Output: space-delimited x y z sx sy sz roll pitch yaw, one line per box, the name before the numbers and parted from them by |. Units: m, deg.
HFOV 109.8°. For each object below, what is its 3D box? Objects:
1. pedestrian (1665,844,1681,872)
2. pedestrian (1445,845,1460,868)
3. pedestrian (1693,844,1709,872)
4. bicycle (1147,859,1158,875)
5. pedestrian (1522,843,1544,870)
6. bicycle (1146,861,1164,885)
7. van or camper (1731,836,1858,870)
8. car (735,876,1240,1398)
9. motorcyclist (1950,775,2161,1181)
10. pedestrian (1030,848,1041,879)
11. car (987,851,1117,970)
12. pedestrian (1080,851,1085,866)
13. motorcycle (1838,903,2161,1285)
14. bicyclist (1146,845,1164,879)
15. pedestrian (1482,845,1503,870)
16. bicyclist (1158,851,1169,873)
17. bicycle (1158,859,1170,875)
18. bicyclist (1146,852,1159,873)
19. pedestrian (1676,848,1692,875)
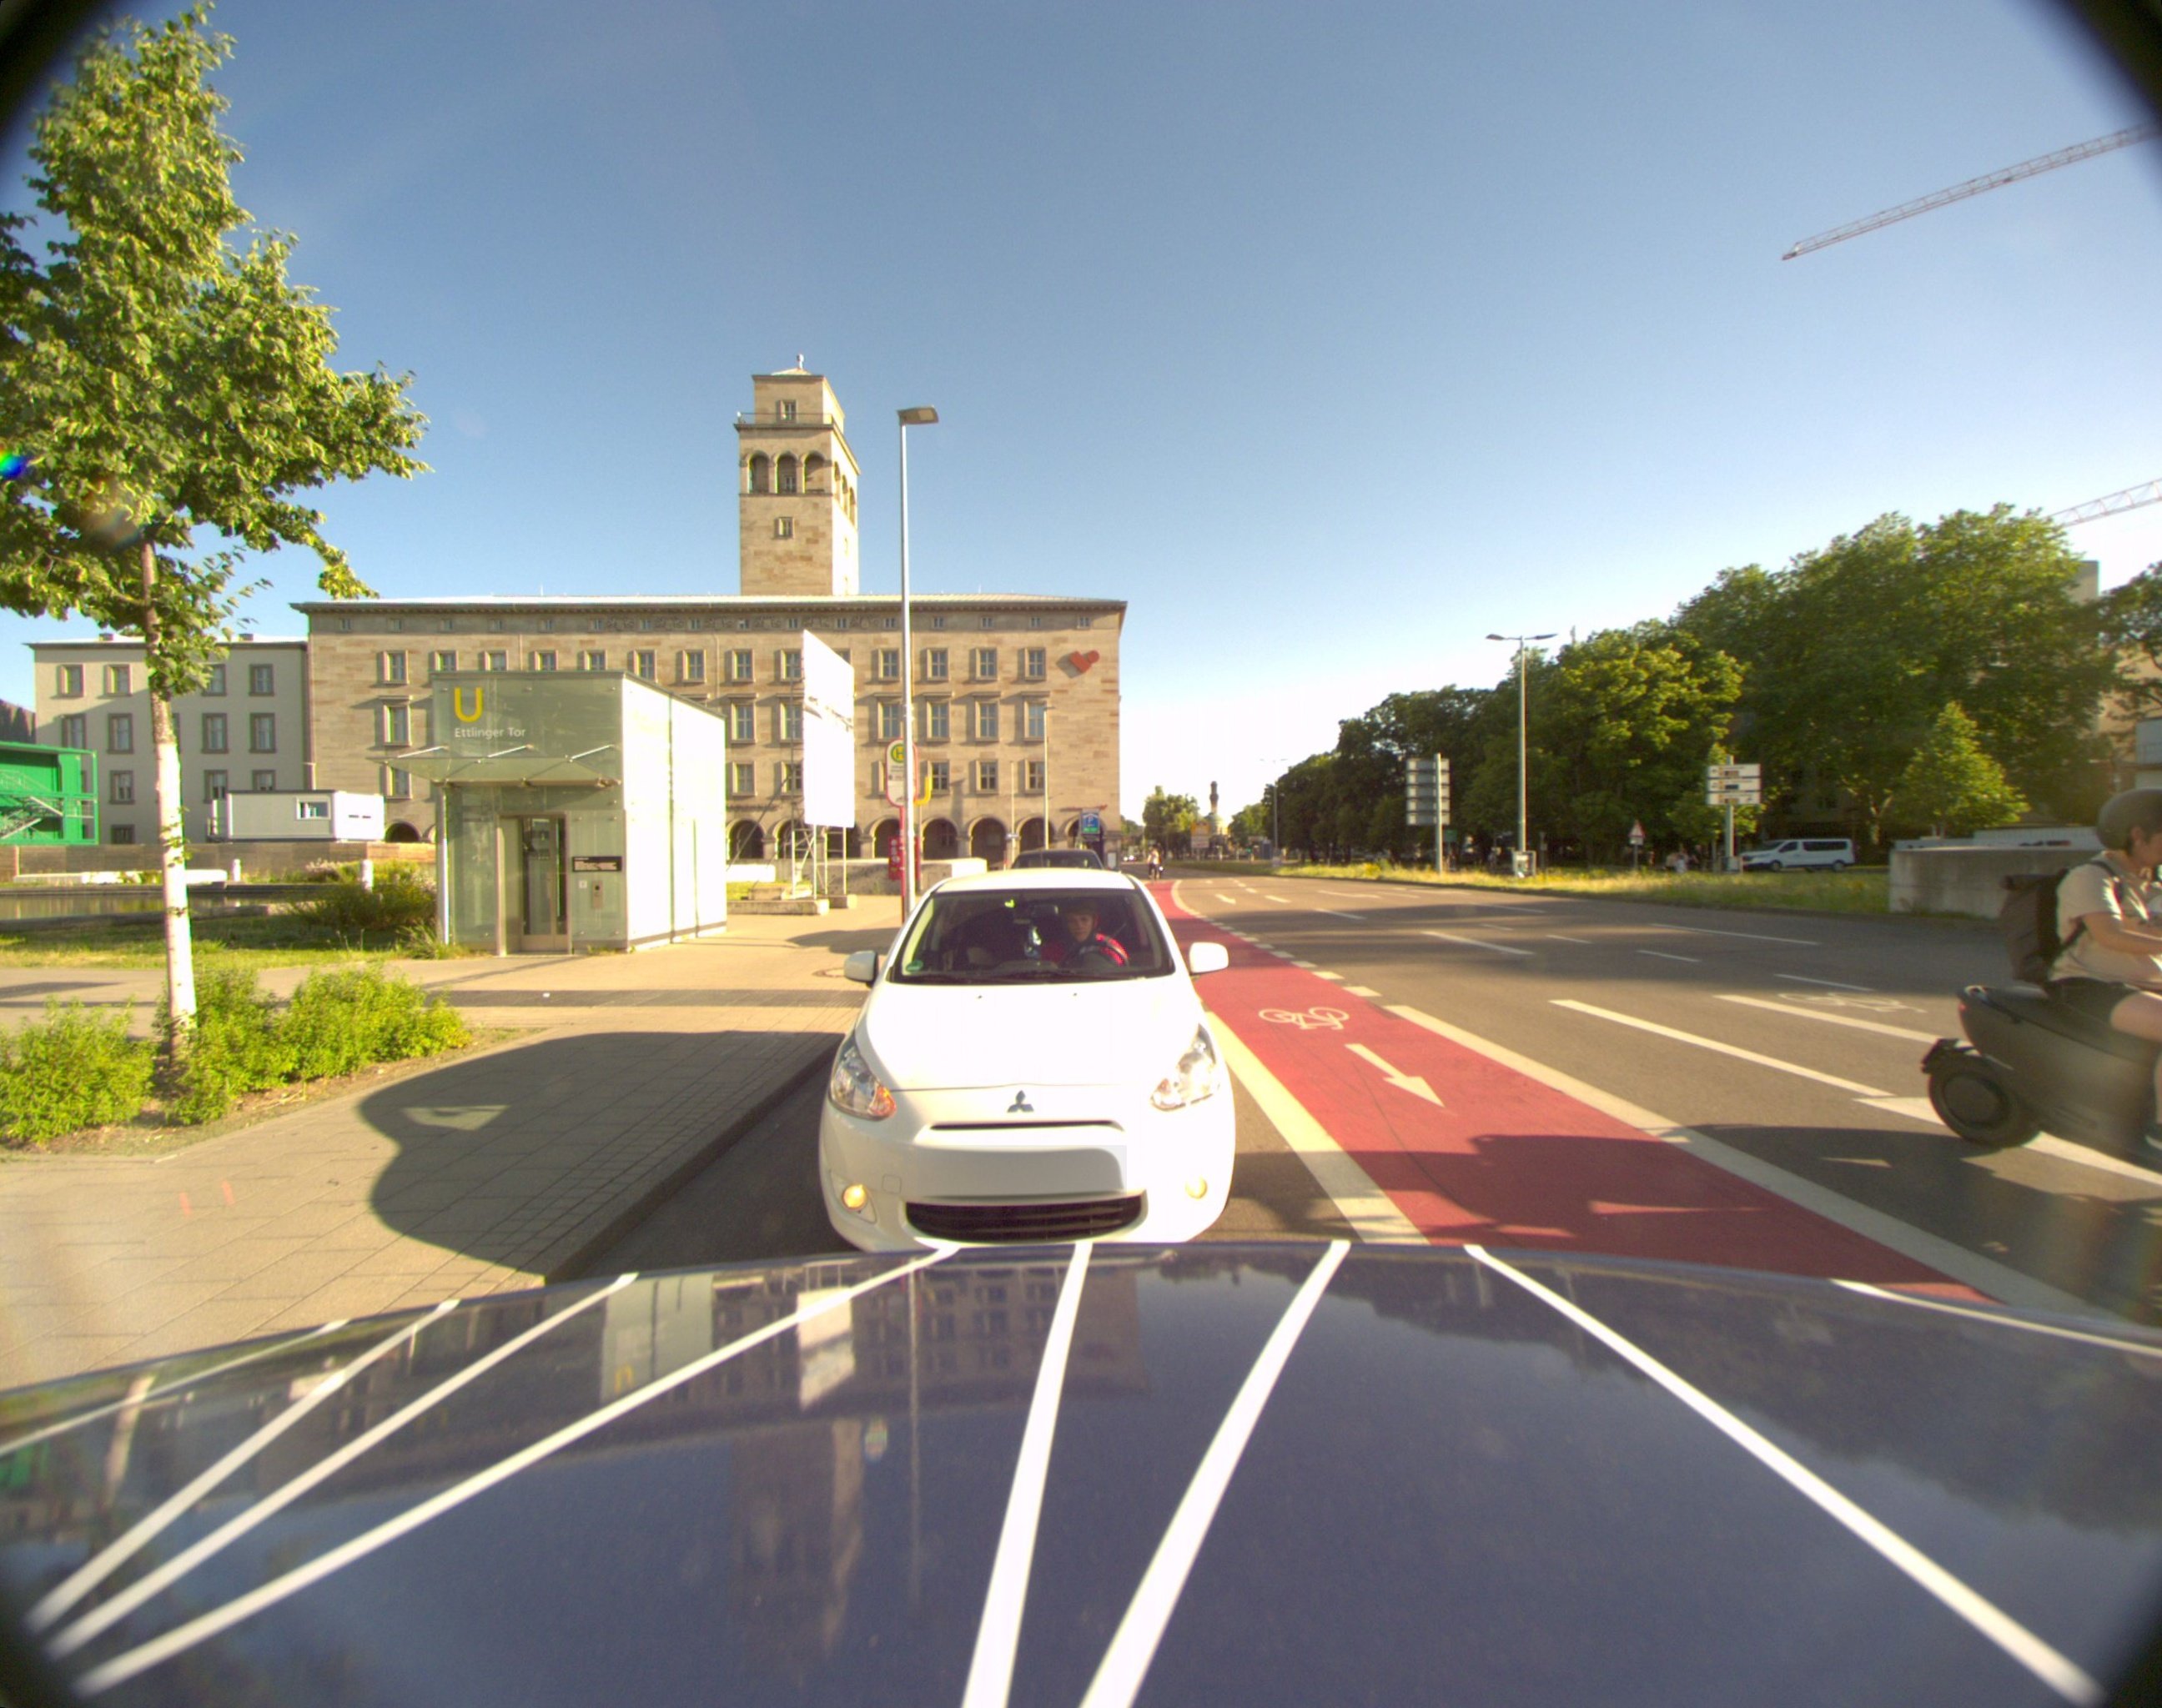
pedestrian | 32.394 0.222 41.557 0.499 1.502 0.494 -1 1 1
pedestrian | 32.405 0.197 66.294 0.959 2.002 0.838 -3 2 -41
pedestrian | 34.010 0.203 41.667 0.499 1.502 0.494 -1 1 1
bicycle | 5.341 0.973 56.939 0.689 1.185 1.506 -1 1 1
pedestrian | 33.099 0.171 55.665 1.126 1.952 0.815 -2 1 1
bicycle | 3.714 0.952 38.328 0.741 1.140 1.890 -1 0 1
van or camper | 42.235 -0.054 45.066 5.499 1.934 1.951 -1 0 4
car | -0.257 0.926 4.310 1.519 1.447 4.000 -1 0 1
motorcyclist | 4.289 0.440 2.948 0.824 1.455 0.877 -1 1 1
pedestrian | -2.505 0.506 41.459 0.552 1.692 0.553 -1 1 -1
car | -0.386 0.794 12.773 1.833 1.660 4.000 -1 0 1
pedestrian | 0.237 0.645 102.093 0.612 2.002 0.727 -2 1 0
motorcycle | 4.271 0.897 2.905 0.828 1.273 1.944 -1 0 1
bicyclist | 3.724 0.389 38.315 0.807 1.690 0.852 -1 1 1
pedestrian | 32.691 0.299 60.366 0.951 1.952 1.058 -2 1 -14
bicyclist | 6.182 0.593 56.876 0.674 1.649 0.877 -1 1 1
bicycle | 6.187 0.952 56.758 0.689 1.185 1.506 -1 1 1
bicyclist | 5.351 0.633 56.966 0.824 1.568 0.877 -1 1 1
pedestrian | 32.995 0.403 41.590 0.499 1.502 0.494 -1 1 1
